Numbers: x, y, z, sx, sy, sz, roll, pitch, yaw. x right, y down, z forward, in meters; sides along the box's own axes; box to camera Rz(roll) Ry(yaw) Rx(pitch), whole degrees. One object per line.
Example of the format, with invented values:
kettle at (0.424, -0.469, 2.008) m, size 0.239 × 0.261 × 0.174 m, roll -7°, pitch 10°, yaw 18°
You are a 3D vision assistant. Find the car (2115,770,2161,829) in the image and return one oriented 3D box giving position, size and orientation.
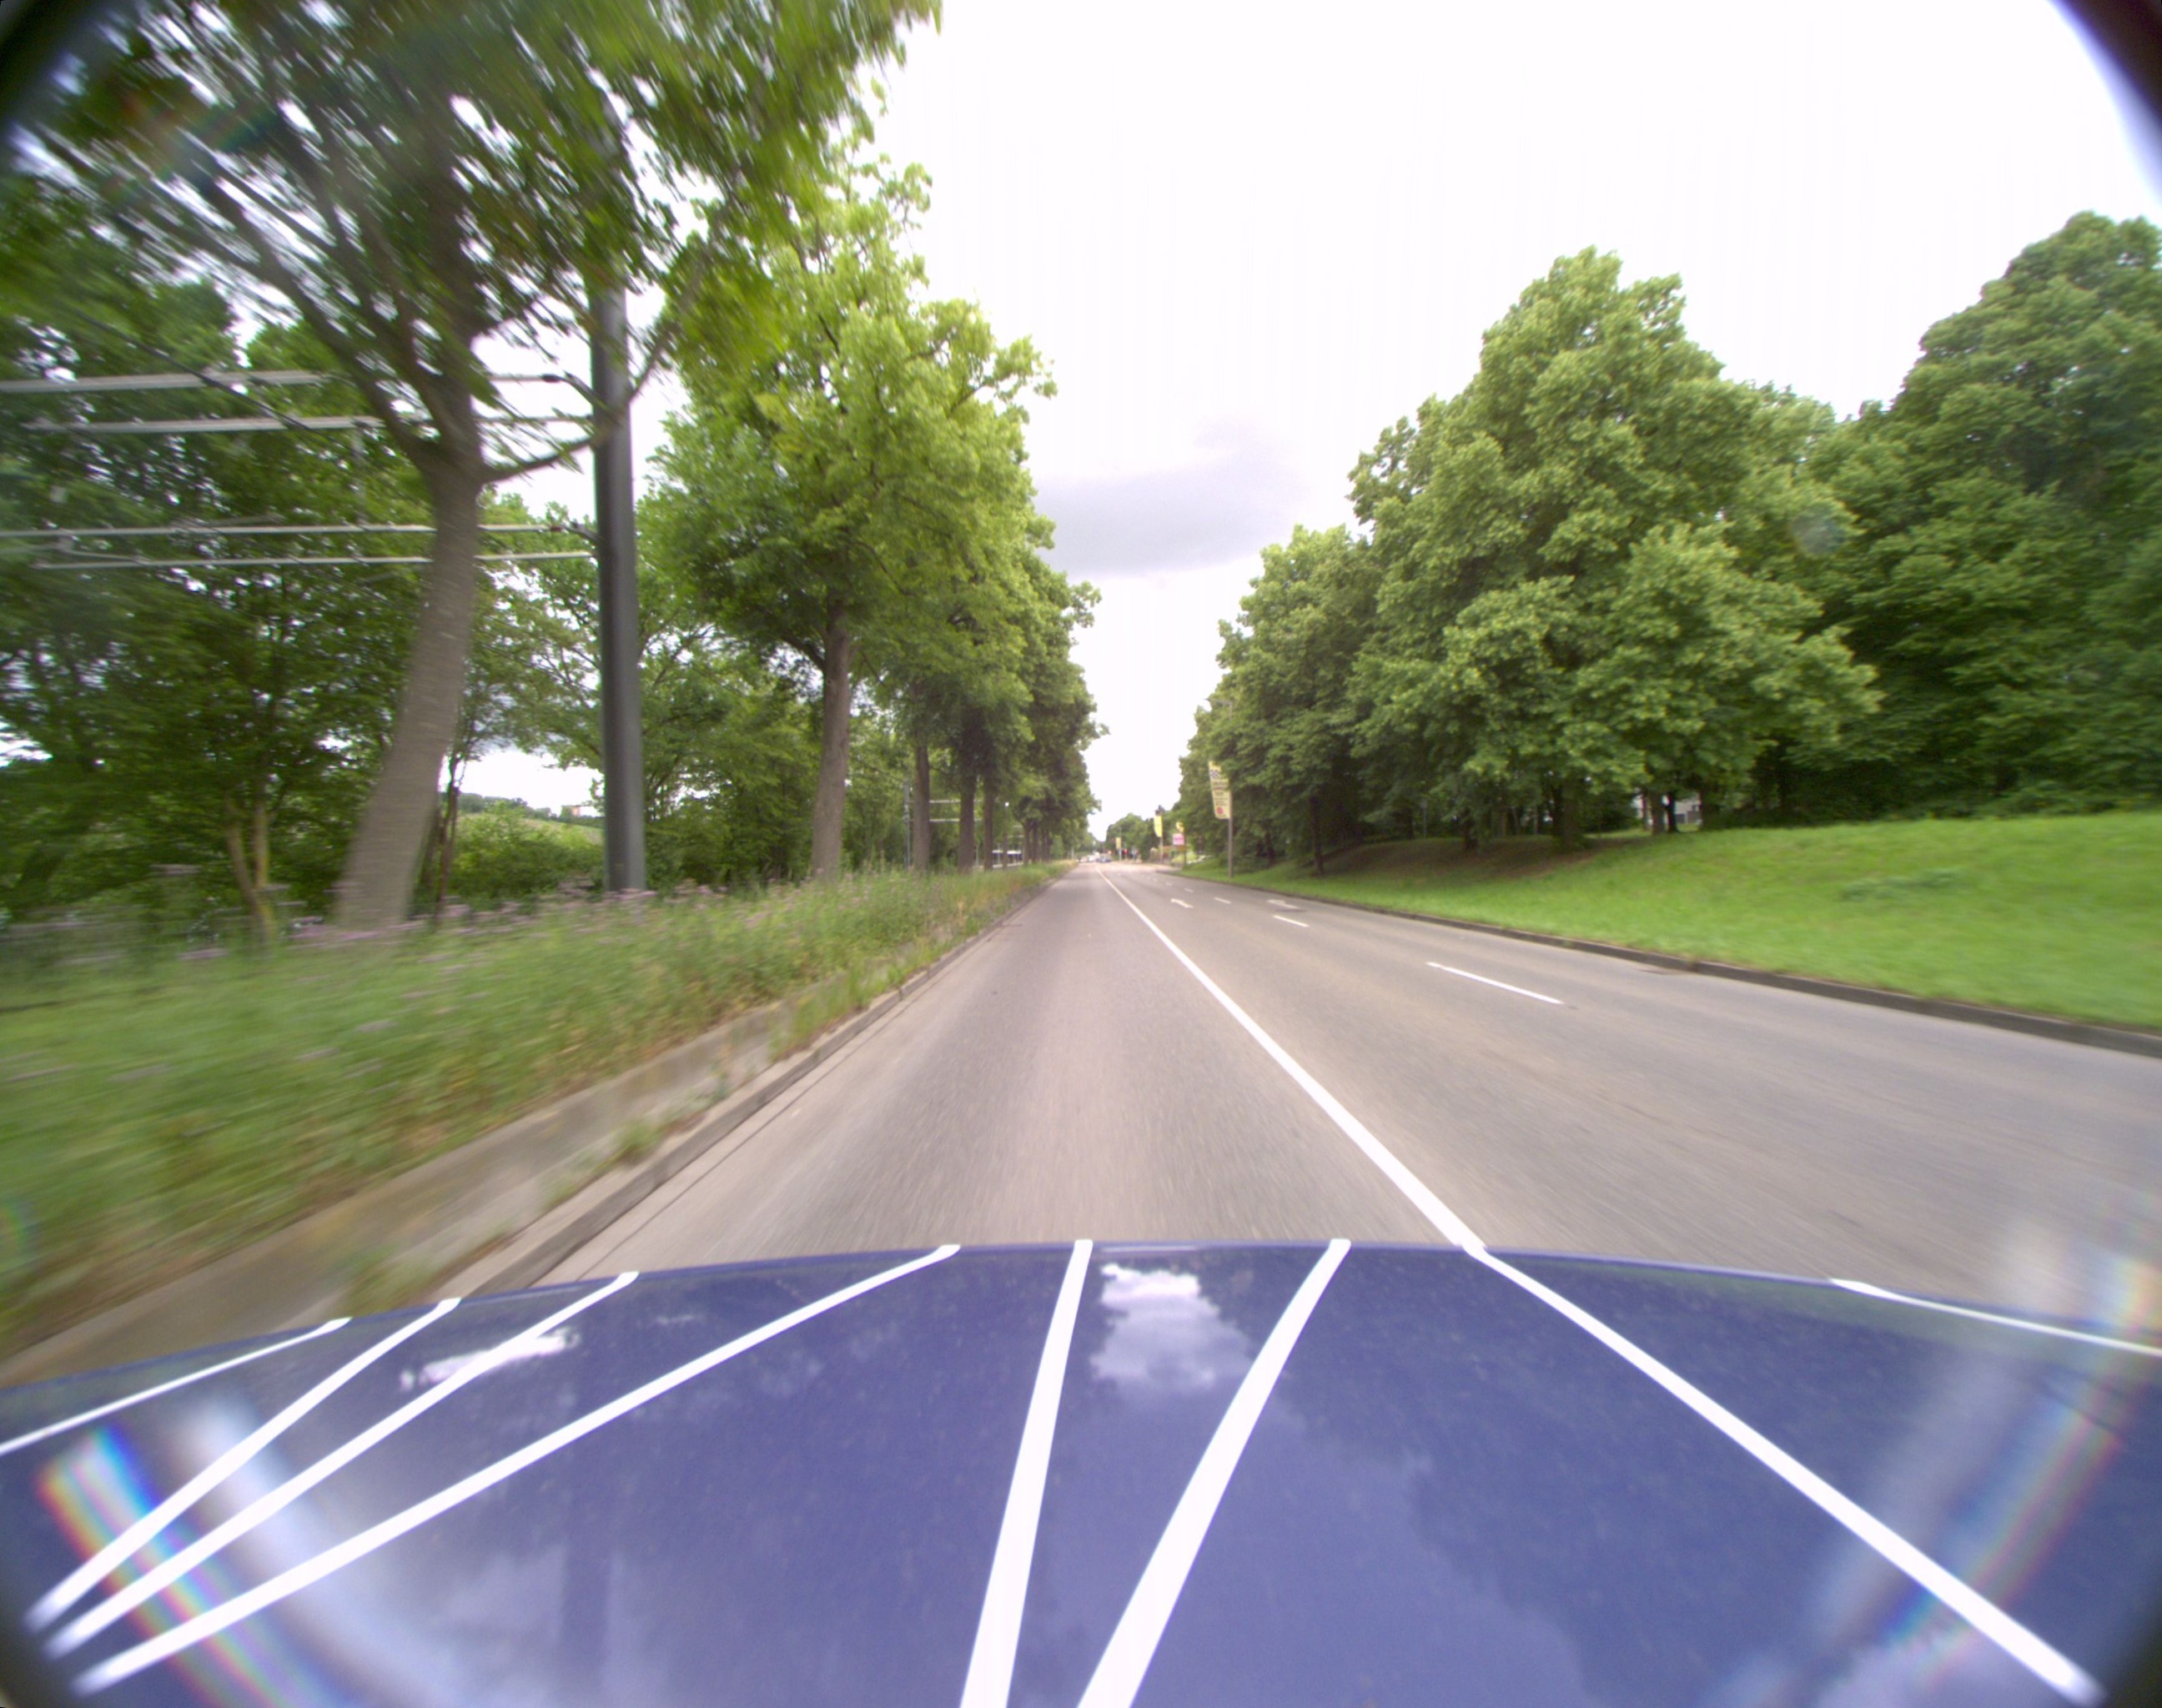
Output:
car at (37.655, -1.885, 25.920) m, size 4.911 × 1.884 × 1.996 m, roll -2°, pitch 0°, yaw -27°

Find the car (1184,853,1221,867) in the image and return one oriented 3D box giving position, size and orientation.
car at (14.958, 0.727, 93.525) m, size 4.220 × 1.483 × 1.749 m, roll -2°, pitch -2°, yaw -3°
